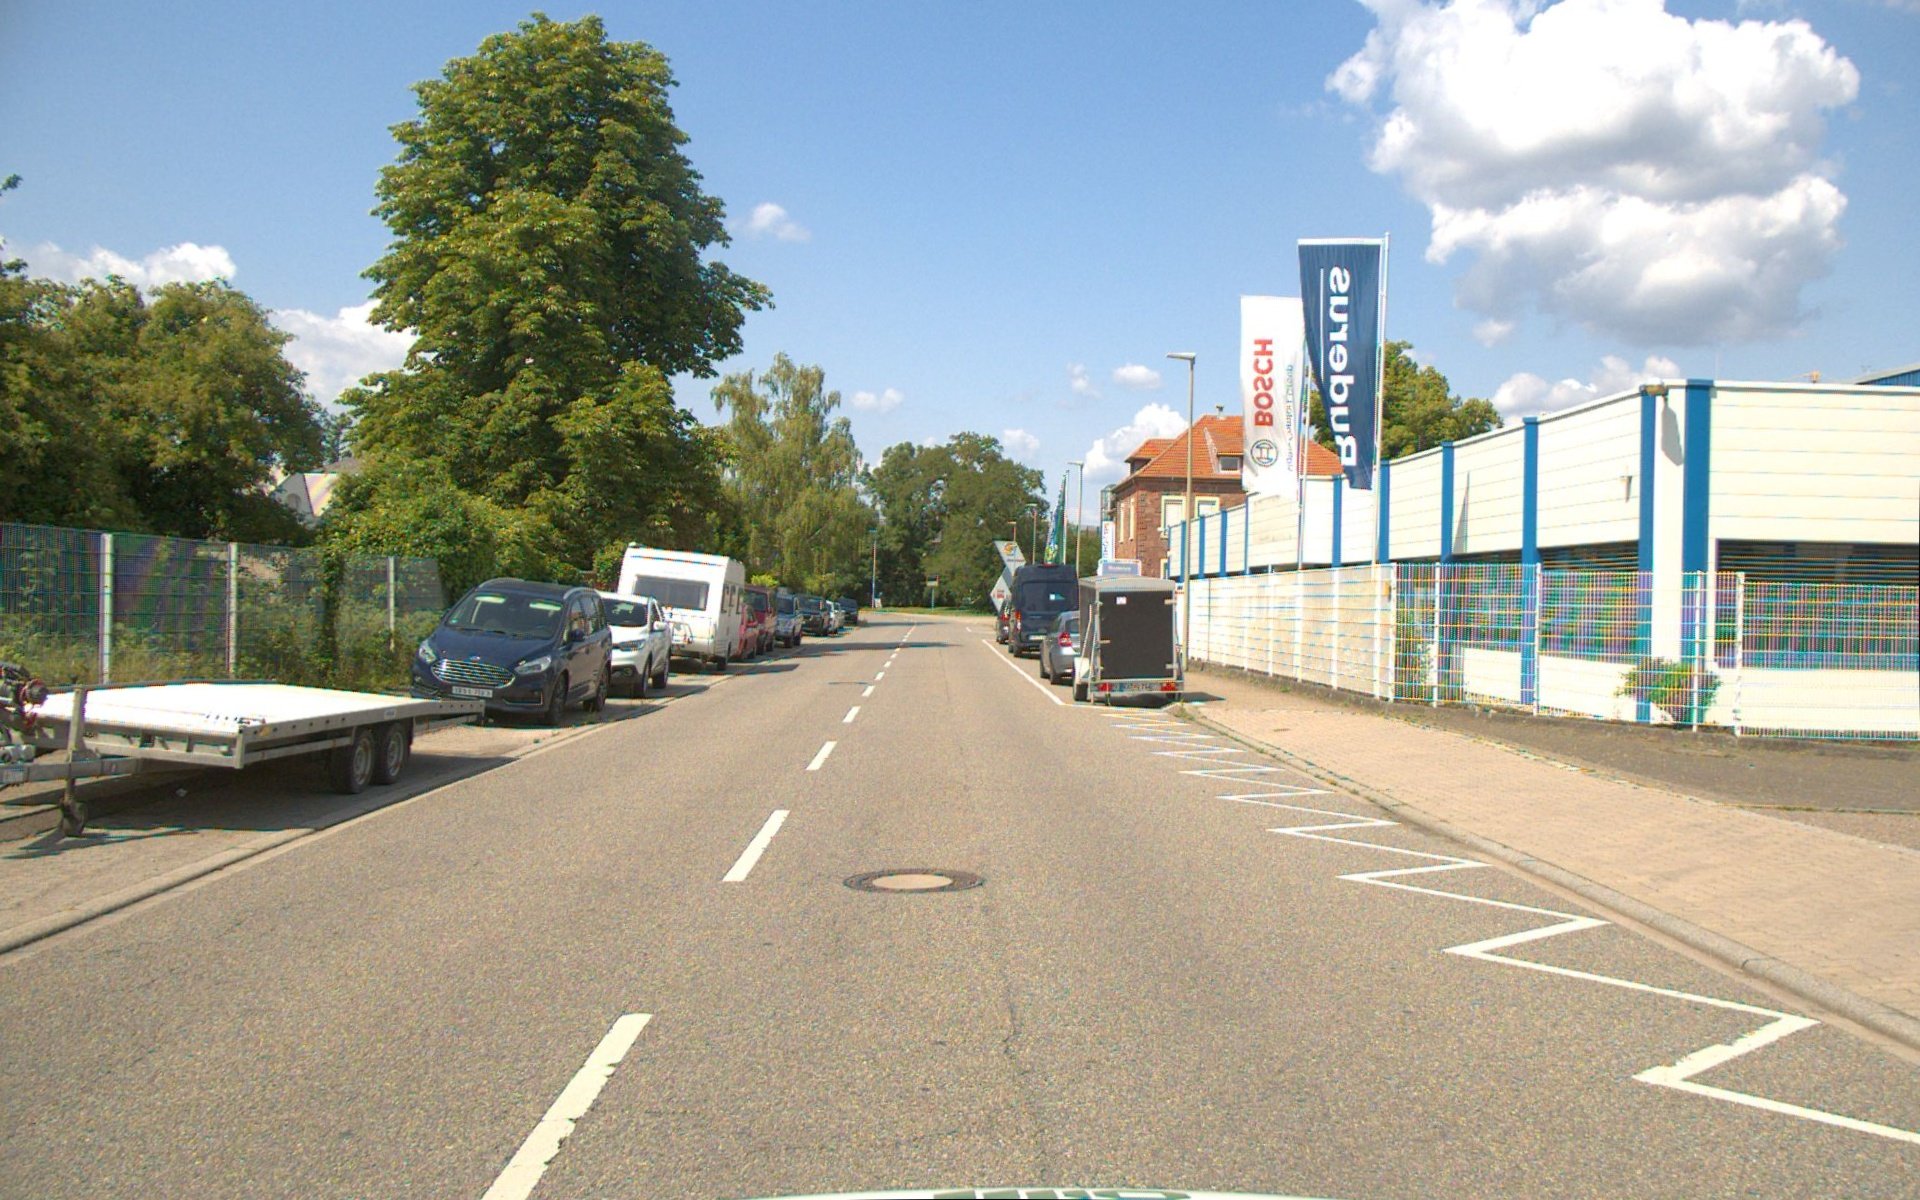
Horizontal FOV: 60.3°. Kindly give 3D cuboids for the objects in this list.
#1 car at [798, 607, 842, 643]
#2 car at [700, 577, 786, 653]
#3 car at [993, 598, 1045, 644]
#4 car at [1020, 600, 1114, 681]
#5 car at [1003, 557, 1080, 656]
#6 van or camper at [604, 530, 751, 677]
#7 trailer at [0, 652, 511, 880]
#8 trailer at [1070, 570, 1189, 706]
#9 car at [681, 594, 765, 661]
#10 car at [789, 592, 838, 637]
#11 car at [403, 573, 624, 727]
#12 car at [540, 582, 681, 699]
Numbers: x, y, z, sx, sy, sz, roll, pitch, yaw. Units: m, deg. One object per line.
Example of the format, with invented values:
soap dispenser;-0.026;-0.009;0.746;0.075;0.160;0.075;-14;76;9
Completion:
car;-6.574;1.144;77.942;1.665;1.623;4.787;1;0;0
car;-6.537;0.461;50.376;1.861;1.988;4.957;6;-1;-1
car;2.227;0.769;63.139;1.788;1.693;4.555;0;0;-1
car;2.118;0.779;33.725;1.540;1.534;4.131;1;0;-1
car;2.429;0.186;50.748;1.898;2.796;6.153;1;0;-1
van or camper;-6.219;0.080;37.377;2.218;2.852;6.830;5;0;-2
trailer;-5.658;1.056;12.973;2.225;0.898;7.131;6;0;0
trailer;2.749;0.603;27.326;1.569;2.073;2.740;2;0;-1
car;-6.295;0.708;44.322;1.592;1.559;4.267;5;0;-1
car;-6.269;0.587;71.170;1.578;1.775;4.636;3;0;0
car;-5.867;0.604;22.331;1.790;1.825;4.734;1;0;-2
car;-5.947;0.642;28.599;1.651;1.721;4.441;5;0;-4
